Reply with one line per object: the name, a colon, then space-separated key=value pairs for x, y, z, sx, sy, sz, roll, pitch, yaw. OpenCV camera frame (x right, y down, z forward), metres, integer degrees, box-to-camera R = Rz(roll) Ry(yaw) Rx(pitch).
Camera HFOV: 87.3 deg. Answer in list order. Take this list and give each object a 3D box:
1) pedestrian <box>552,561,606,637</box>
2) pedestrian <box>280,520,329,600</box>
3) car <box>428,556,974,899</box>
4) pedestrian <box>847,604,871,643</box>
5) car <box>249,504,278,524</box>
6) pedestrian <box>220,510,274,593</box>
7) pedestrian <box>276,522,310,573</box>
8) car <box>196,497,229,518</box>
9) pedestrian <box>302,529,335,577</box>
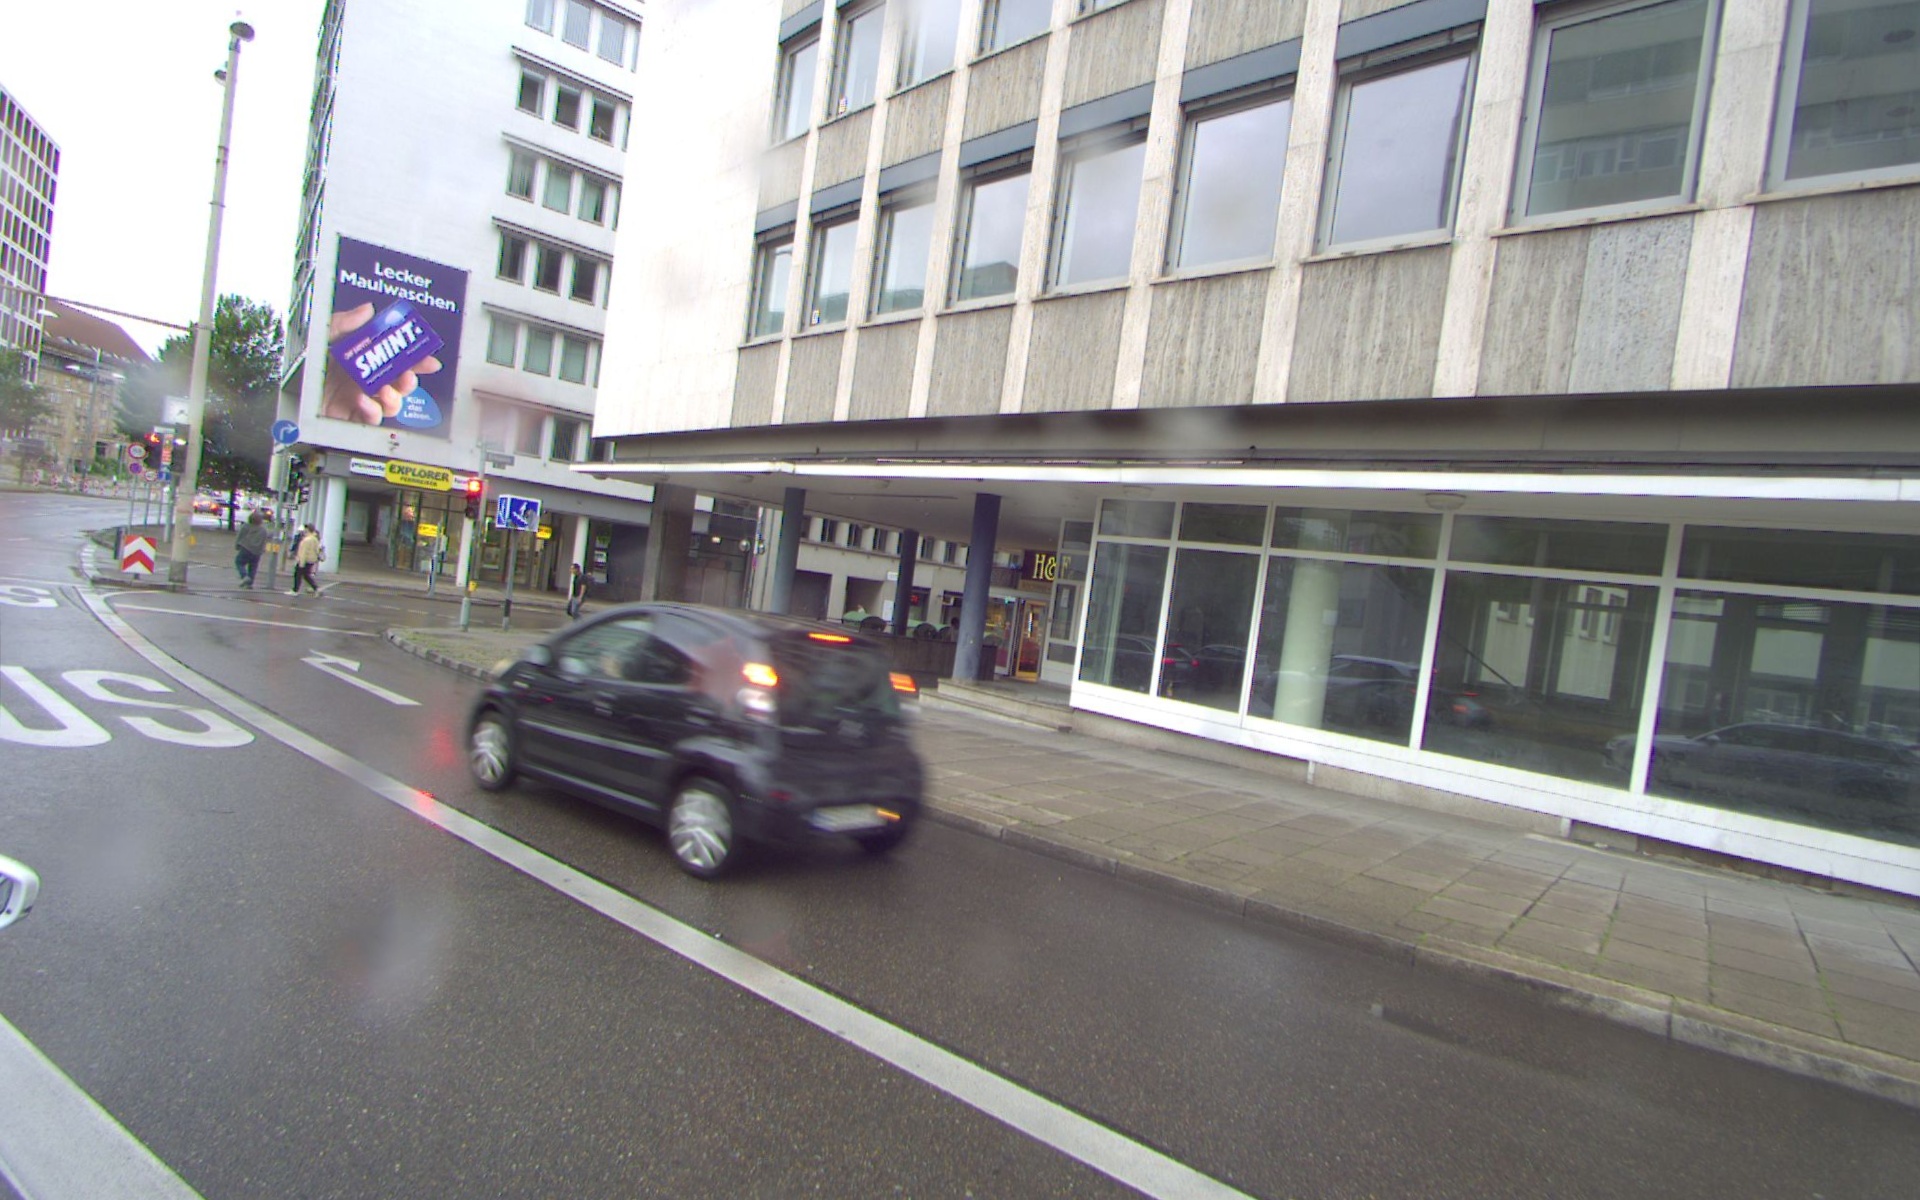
pedestrian: x=-9.650 y=-0.017 z=25.509 sx=1.002 sy=1.776 sz=0.793 roll=7 pitch=-1 yaw=-14
pedestrian: x=-15.812 y=-0.960 z=24.274 sx=0.725 sy=1.820 sz=0.730 roll=7 pitch=1 yaw=-43
car: x=-1.844 y=0.672 z=6.745 sx=3.431 sy=1.490 sz=1.662 roll=7 pitch=-1 yaw=38
pedestrian: x=-5.008 y=1.154 z=49.830 sx=0.677 sy=1.820 sz=0.722 roll=7 pitch=0 yaw=-37
car: x=-76.423 y=-9.413 z=110.400 sx=2.032 sy=1.786 sz=4.324 roll=9 pitch=-2 yaw=-29
pedestrian: x=-16.894 y=-1.145 z=23.828 sx=0.810 sy=1.820 sz=0.702 roll=7 pitch=0 yaw=-43
pedestrian: x=-23.114 y=-1.818 z=34.843 sx=0.725 sy=1.688 sz=0.682 roll=7 pitch=0 yaw=-43
car: x=-72.219 y=-8.954 z=97.266 sx=1.897 sy=1.527 sz=4.322 roll=9 pitch=-2 yaw=-30
pedestrian: x=-22.443 y=-1.643 z=35.174 sx=0.725 sy=1.542 sz=0.751 roll=7 pitch=-1 yaw=-43
